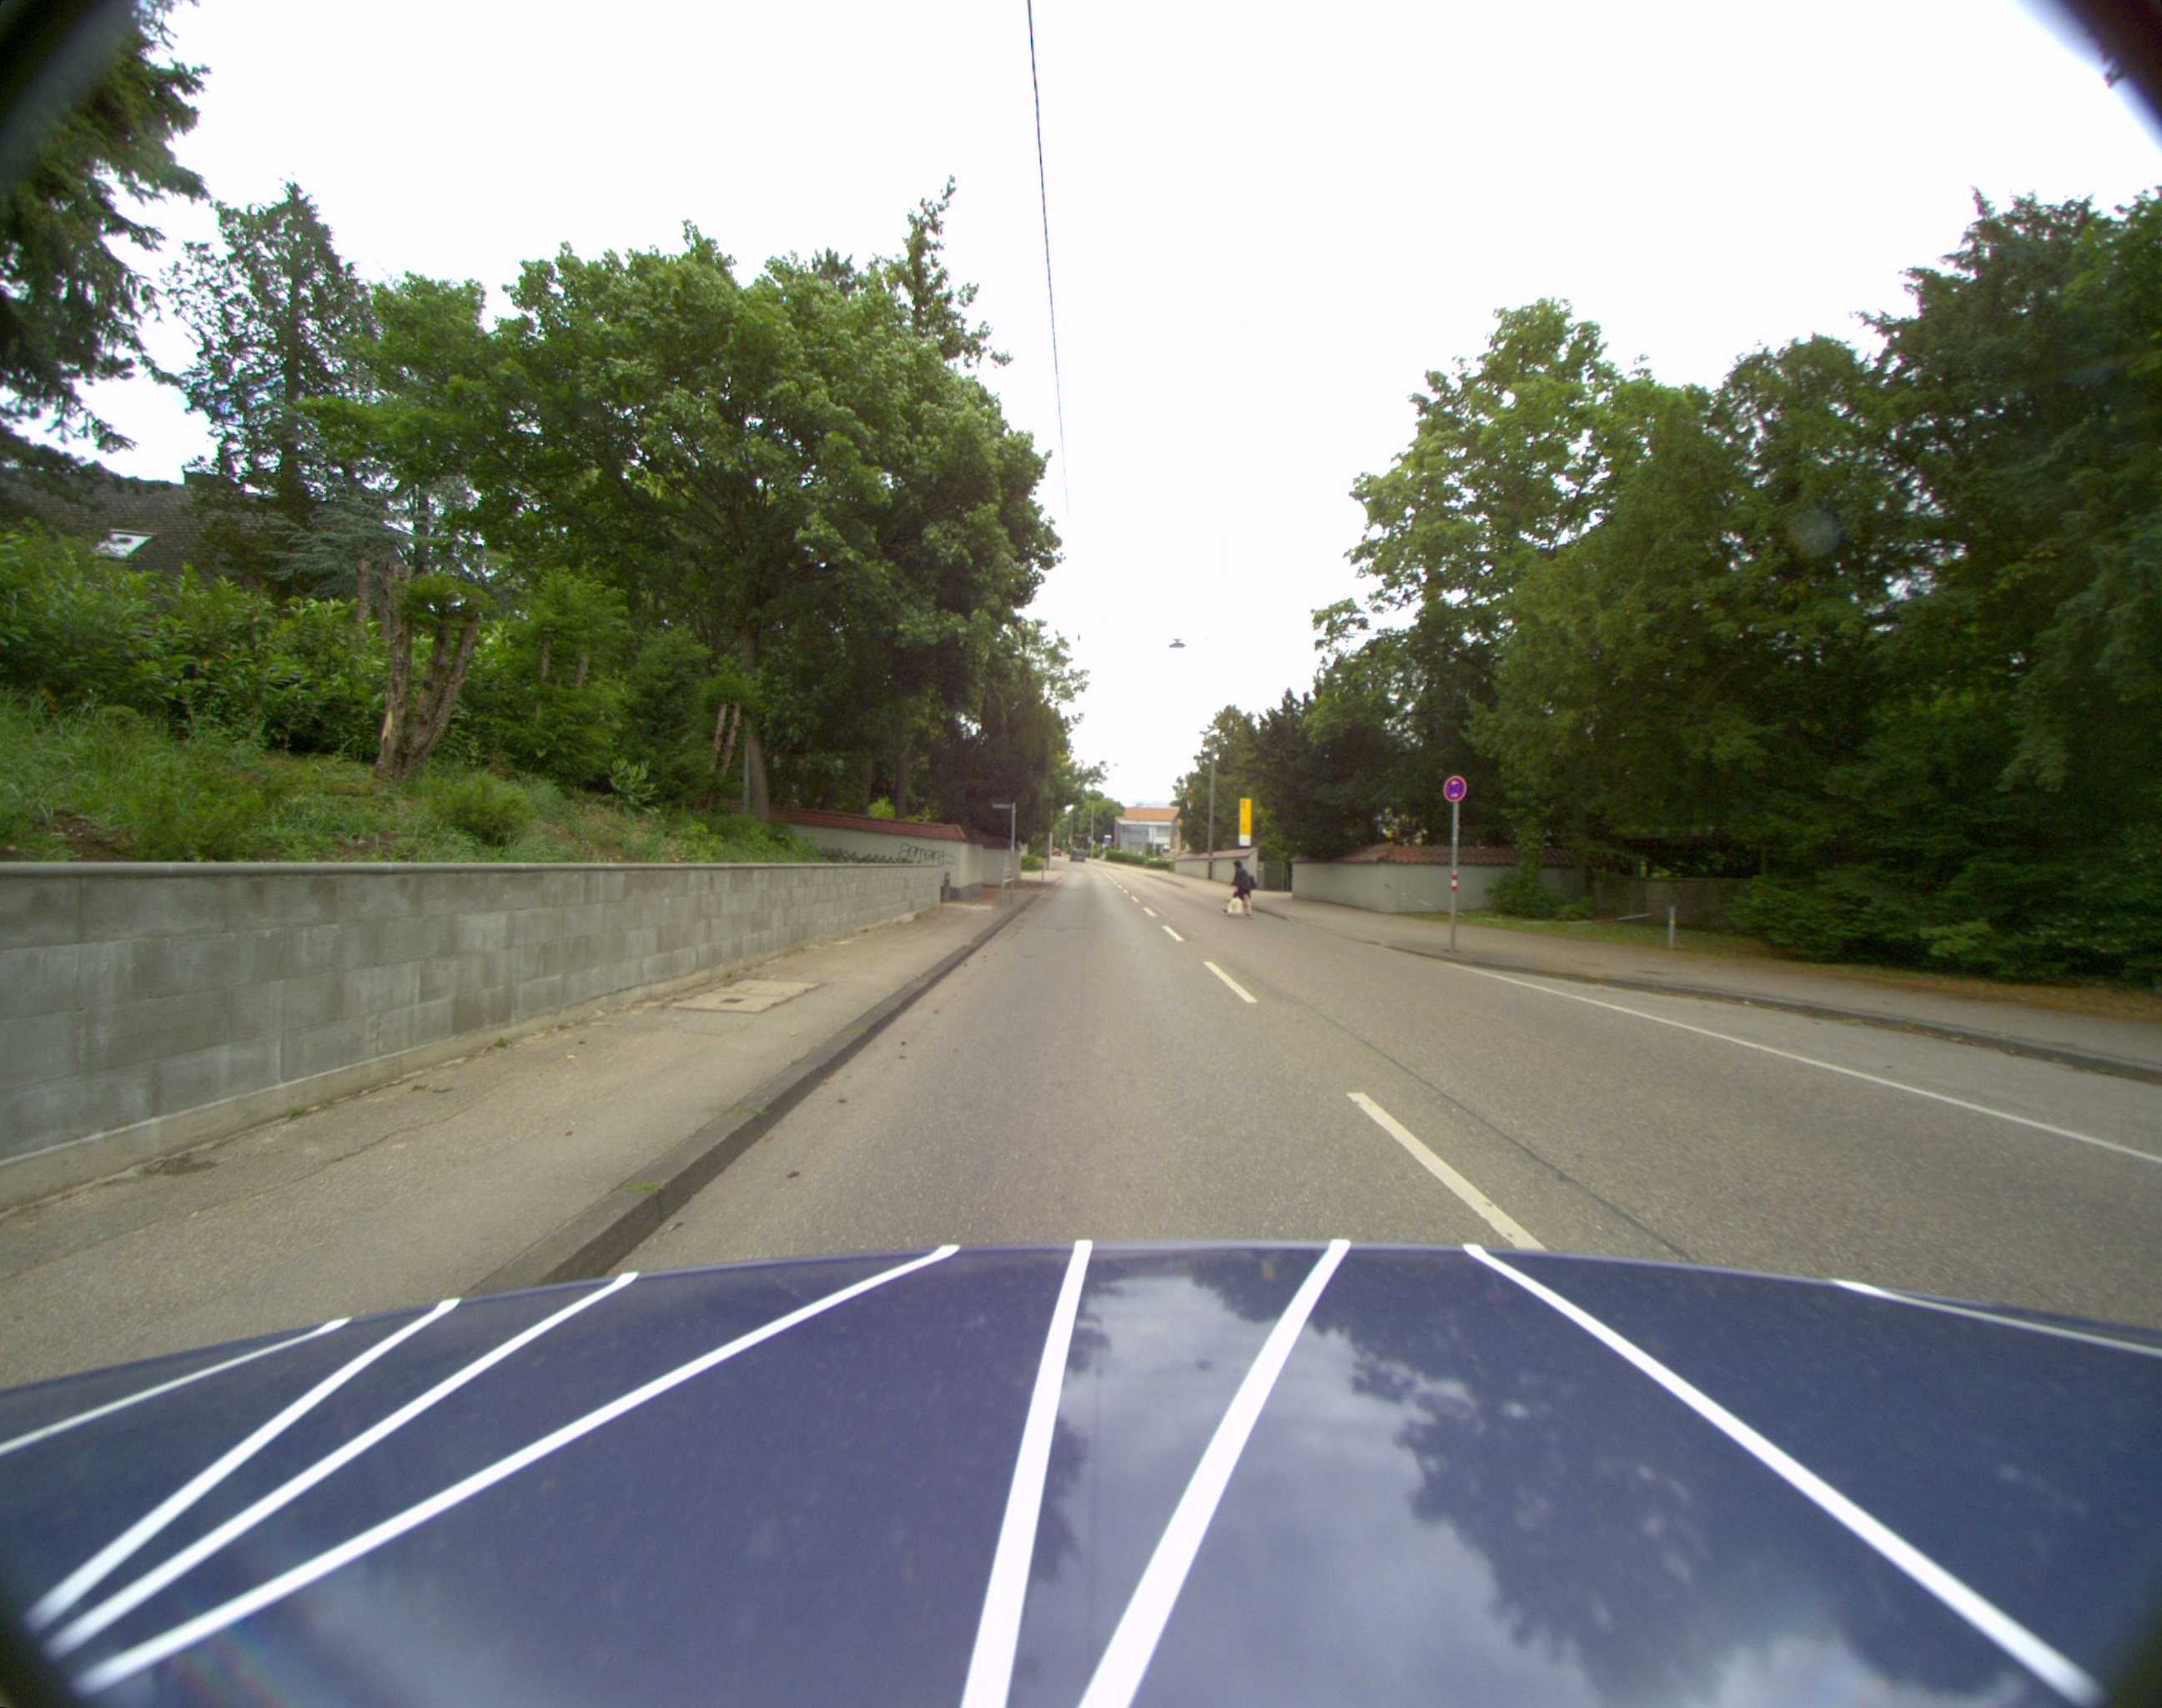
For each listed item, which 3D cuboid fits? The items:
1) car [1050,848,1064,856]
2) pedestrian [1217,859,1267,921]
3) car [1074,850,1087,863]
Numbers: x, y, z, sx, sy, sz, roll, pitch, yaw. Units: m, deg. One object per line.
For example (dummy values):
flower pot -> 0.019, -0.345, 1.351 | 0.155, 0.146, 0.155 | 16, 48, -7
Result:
car -> -4.710, -0.458, 148.942 | 1.792, 1.420, 3.994 | 2, 0, -14
pedestrian -> 4.292, 0.933, 20.234 | 0.899, 1.552, 0.931 | 5, 2, 38
car -> -0.054, 0.377, 112.739 | 1.895, 1.845, 5.082 | 1, 0, 0
